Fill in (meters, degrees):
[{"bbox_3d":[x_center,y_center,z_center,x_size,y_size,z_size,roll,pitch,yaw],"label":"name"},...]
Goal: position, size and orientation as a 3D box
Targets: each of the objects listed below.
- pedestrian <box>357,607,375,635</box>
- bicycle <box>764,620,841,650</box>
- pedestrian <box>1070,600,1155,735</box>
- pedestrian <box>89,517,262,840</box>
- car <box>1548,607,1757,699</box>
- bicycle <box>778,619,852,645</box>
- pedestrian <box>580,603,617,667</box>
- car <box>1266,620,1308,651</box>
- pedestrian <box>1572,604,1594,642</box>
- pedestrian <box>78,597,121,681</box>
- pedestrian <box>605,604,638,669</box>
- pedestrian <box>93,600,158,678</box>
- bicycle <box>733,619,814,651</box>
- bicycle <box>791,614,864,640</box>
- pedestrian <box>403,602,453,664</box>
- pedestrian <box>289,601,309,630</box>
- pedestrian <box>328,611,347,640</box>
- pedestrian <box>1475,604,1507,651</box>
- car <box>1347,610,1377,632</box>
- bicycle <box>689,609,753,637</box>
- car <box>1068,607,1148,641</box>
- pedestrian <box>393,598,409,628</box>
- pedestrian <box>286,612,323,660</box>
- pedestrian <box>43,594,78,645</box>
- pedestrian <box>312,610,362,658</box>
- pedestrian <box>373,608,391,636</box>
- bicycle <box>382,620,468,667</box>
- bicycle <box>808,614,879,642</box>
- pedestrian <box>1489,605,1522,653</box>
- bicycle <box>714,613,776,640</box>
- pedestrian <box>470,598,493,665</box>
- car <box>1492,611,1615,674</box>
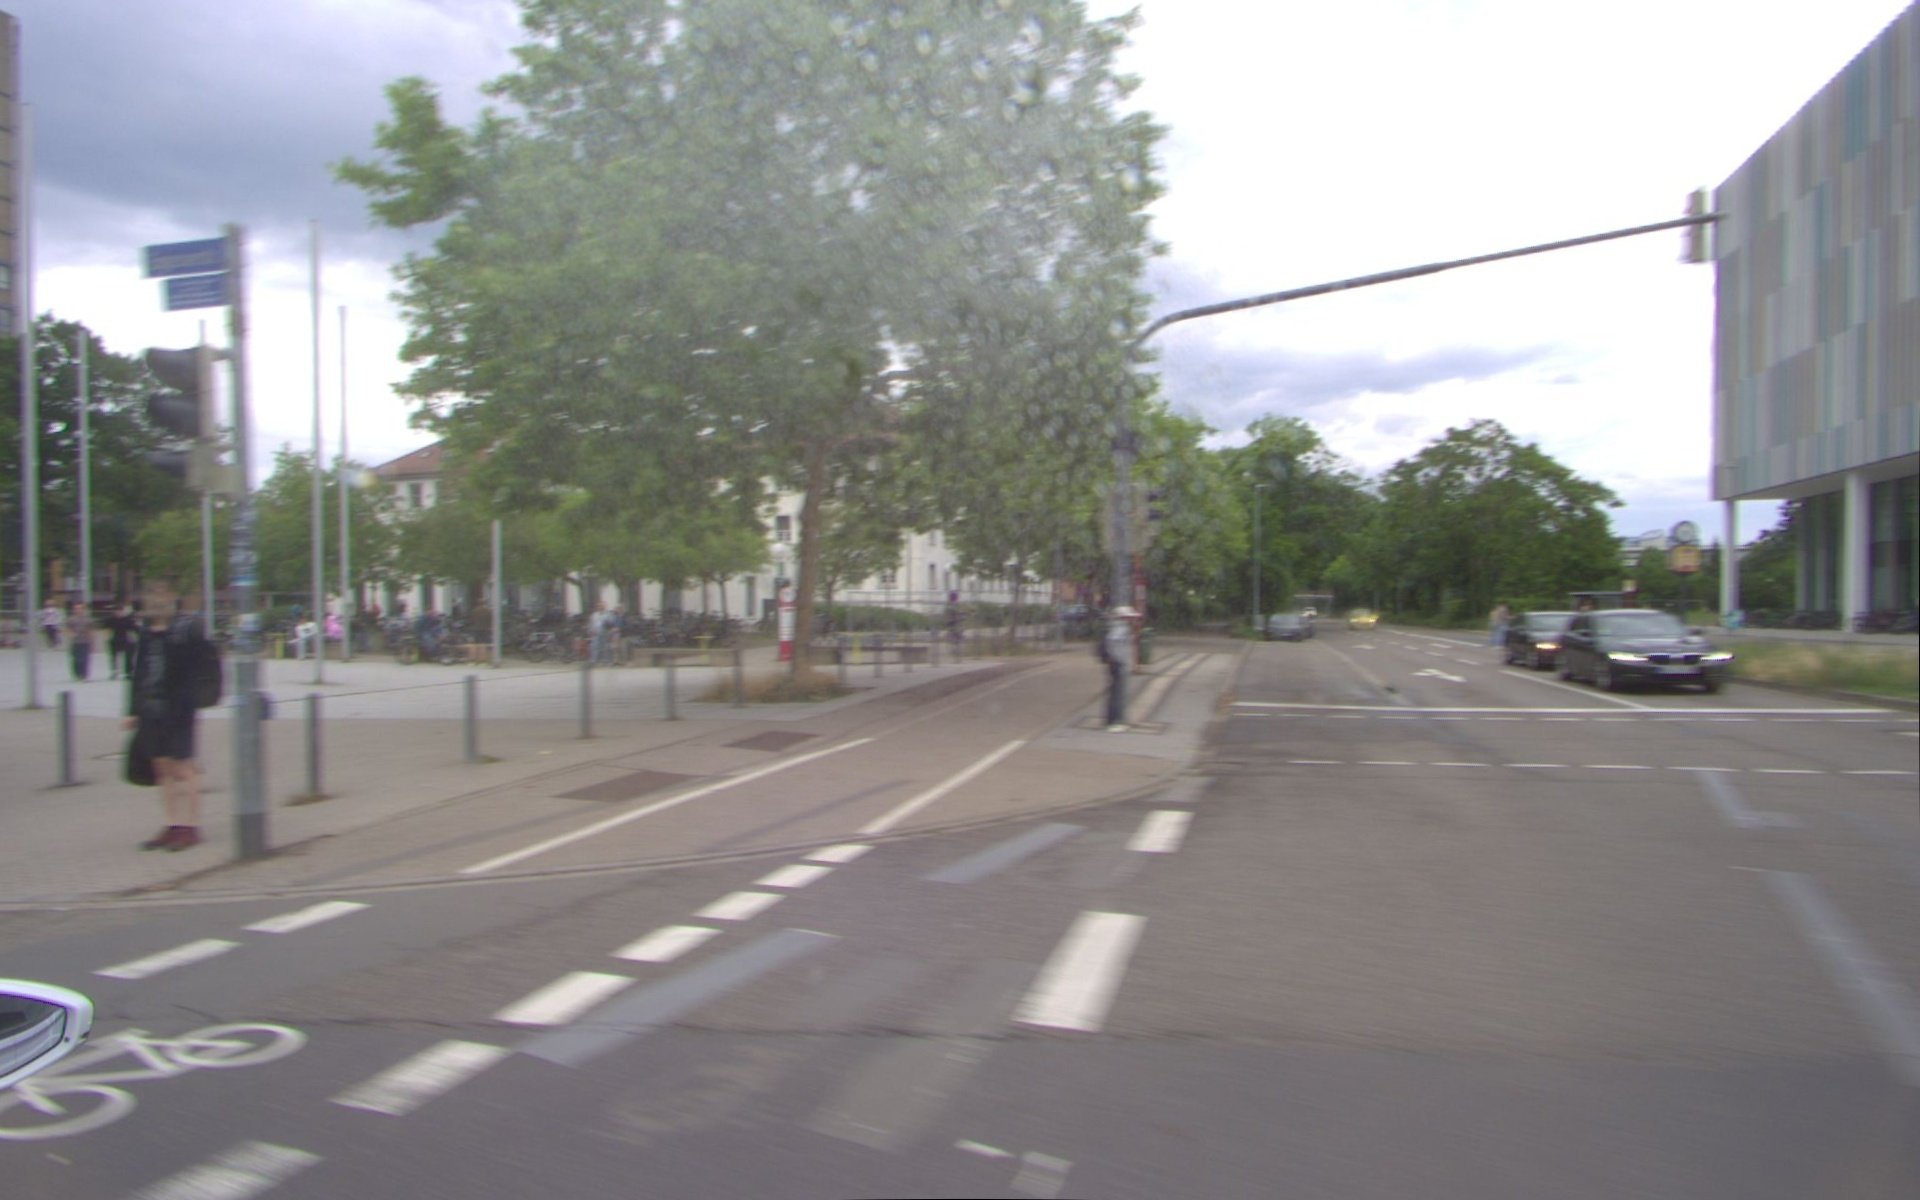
[{"bbox_3d":[-35.337,1.235,59.587,0.681,1.662,0.662,0,0,15],"label":"pedestrian"},{"bbox_3d":[-7.158,1.591,45.485,3.336,1.185,1.053,2,-1,23],"label":"bicycle"},{"bbox_3d":[1.989,0.848,13.023,0.781,1.649,0.754,5,2,30],"label":"pedestrian"},{"bbox_3d":[-5.233,0.491,6.683,0.749,1.978,0.787,0,0,42],"label":"pedestrian"},{"bbox_3d":[12.785,0.921,18.845,1.964,1.508,4.286,-2,-1,17],"label":"car"},{"bbox_3d":[-6.744,1.489,46.512,3.337,1.185,1.053,-1,-1,23],"label":"bicycle"},{"bbox_3d":[-10.010,0.956,27.743,0.667,1.738,0.671,0,0,23],"label":"pedestrian"},{"bbox_3d":[16.806,1.785,51.364,1.965,1.531,3.993,0,-1,20],"label":"car"},{"bbox_3d":[30.278,1.130,48.694,0.795,1.833,0.587,0,0,22],"label":"pedestrian"},{"bbox_3d":[-19.264,0.875,22.435,0.636,1.831,0.643,3,-1,-39],"label":"pedestrian"},{"bbox_3d":[-9.291,0.991,27.470,0.647,1.738,0.584,0,0,23],"label":"pedestrian"},{"bbox_3d":[-19.035,0.885,22.859,0.893,1.735,0.693,2,1,-13],"label":"pedestrian"},{"bbox_3d":[-8.012,1.484,43.009,3.336,1.185,1.053,2,-1,23],"label":"bicycle"},{"bbox_3d":[-6.302,1.262,47.553,3.337,1.185,1.053,0,-1,23],"label":"bicycle"},{"bbox_3d":[-15.404,0.965,28.991,0.951,1.724,0.852,-3,-4,13],"label":"pedestrian"},{"bbox_3d":[-38.471,0.893,58.271,0.654,1.662,0.662,0,0,15],"label":"pedestrian"},{"bbox_3d":[-36.189,1.502,58.200,0.654,1.662,0.662,0,0,14],"label":"pedestrian"},{"bbox_3d":[20.569,1.067,38.826,0.701,1.811,0.894,0,0,-7],"label":"pedestrian"},{"bbox_3d":[30.194,1.569,75.284,1.965,1.639,4.186,0,-1,20],"label":"car"},{"bbox_3d":[-11.514,1.093,48.164,3.052,1.185,0.747,2,-1,19],"label":"bicycle"},{"bbox_3d":[7.914,1.264,53.760,3.986,1.776,2.000,0,-1,1],"label":"car"},{"bbox_3d":[-30.972,0.723,55.522,0.651,1.662,0.664,-1,0,-21],"label":"pedestrian"},{"bbox_3d":[-19.882,1.094,30.362,0.755,1.431,0.672,0,0,-14],"label":"pedestrian"},{"bbox_3d":[-29.884,0.648,33.280,0.728,1.662,0.924,3,-1,-38],"label":"pedestrian"},{"bbox_3d":[-18.878,1.016,30.366,0.950,1.439,0.852,0,0,6],"label":"pedestrian"},{"bbox_3d":[-34.233,1.283,59.342,0.654,1.662,0.662,0,0,15],"label":"pedestrian"},{"bbox_3d":[-15.014,1.213,28.086,2.368,1.185,0.457,3,-1,13],"label":"bicycle"},{"bbox_3d":[-5.716,1.375,48.962,3.337,1.185,1.053,2,-1,24],"label":"bicycle"},{"bbox_3d":[20.680,1.099,37.946,0.701,1.811,0.894,0,0,-7],"label":"pedestrian"},{"bbox_3d":[-10.830,1.335,50.437,3.052,1.185,0.747,2,-1,19],"label":"bicycle"},{"bbox_3d":[-13.460,0.878,28.148,0.504,1.857,0.669,0,0,-33],"label":"pedestrian"},{"bbox_3d":[14.980,1.027,25.490,1.965,1.472,3.992,0,-1,20],"label":"car"}]
